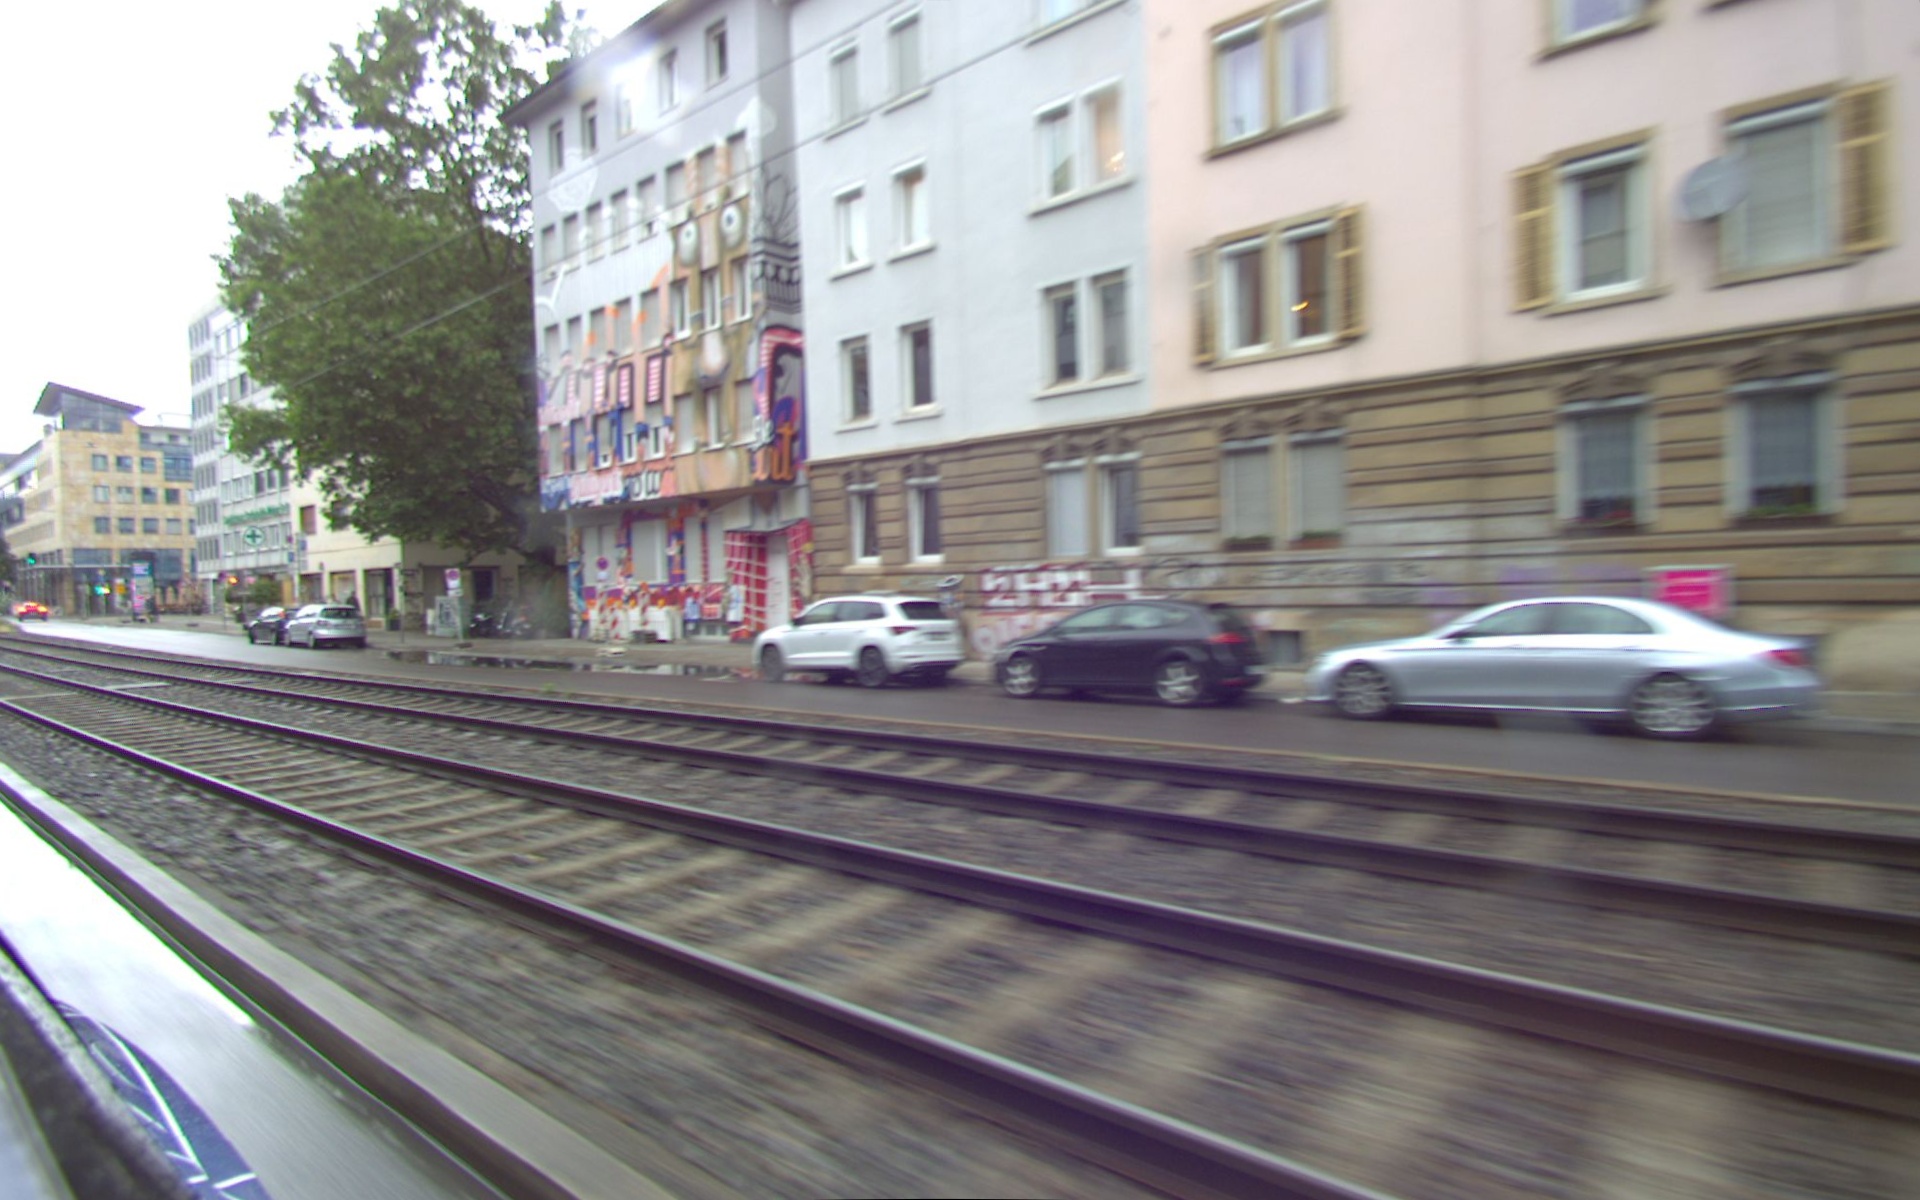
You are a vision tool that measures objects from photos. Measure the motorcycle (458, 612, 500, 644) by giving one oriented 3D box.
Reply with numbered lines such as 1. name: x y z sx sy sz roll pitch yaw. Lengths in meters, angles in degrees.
1. motorcycle: -18.344 1.073 38.561 2.564 1.154 0.466 -1 1 41

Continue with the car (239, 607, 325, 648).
1. car: -26.947 1.079 40.185 4.226 1.553 1.819 -1 -1 41

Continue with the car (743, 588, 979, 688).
1. car: -1.877 0.655 18.443 4.223 1.617 1.820 -1 -1 39

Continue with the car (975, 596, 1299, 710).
1. car: 2.441 0.697 14.573 4.261 1.408 1.820 -1 -1 39

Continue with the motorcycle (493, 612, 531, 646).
1. motorcycle: -16.339 1.039 36.903 2.016 1.190 0.432 -1 1 41

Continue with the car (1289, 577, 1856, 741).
1. car: 6.434 0.570 11.103 5.019 1.408 1.973 -1 -2 41

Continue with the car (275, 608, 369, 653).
1. car: -23.438 1.104 37.118 4.226 1.553 1.819 -1 -1 41

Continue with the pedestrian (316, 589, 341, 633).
1. pedestrian: -27.331 0.490 43.811 0.536 1.883 0.798 -2 0 44

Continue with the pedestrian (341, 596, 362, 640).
1. pedestrian: -26.703 0.781 44.414 0.536 1.883 0.642 -2 0 44

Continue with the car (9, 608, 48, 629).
1. car: -78.847 1.574 85.609 3.998 1.696 1.973 -1 1 41
